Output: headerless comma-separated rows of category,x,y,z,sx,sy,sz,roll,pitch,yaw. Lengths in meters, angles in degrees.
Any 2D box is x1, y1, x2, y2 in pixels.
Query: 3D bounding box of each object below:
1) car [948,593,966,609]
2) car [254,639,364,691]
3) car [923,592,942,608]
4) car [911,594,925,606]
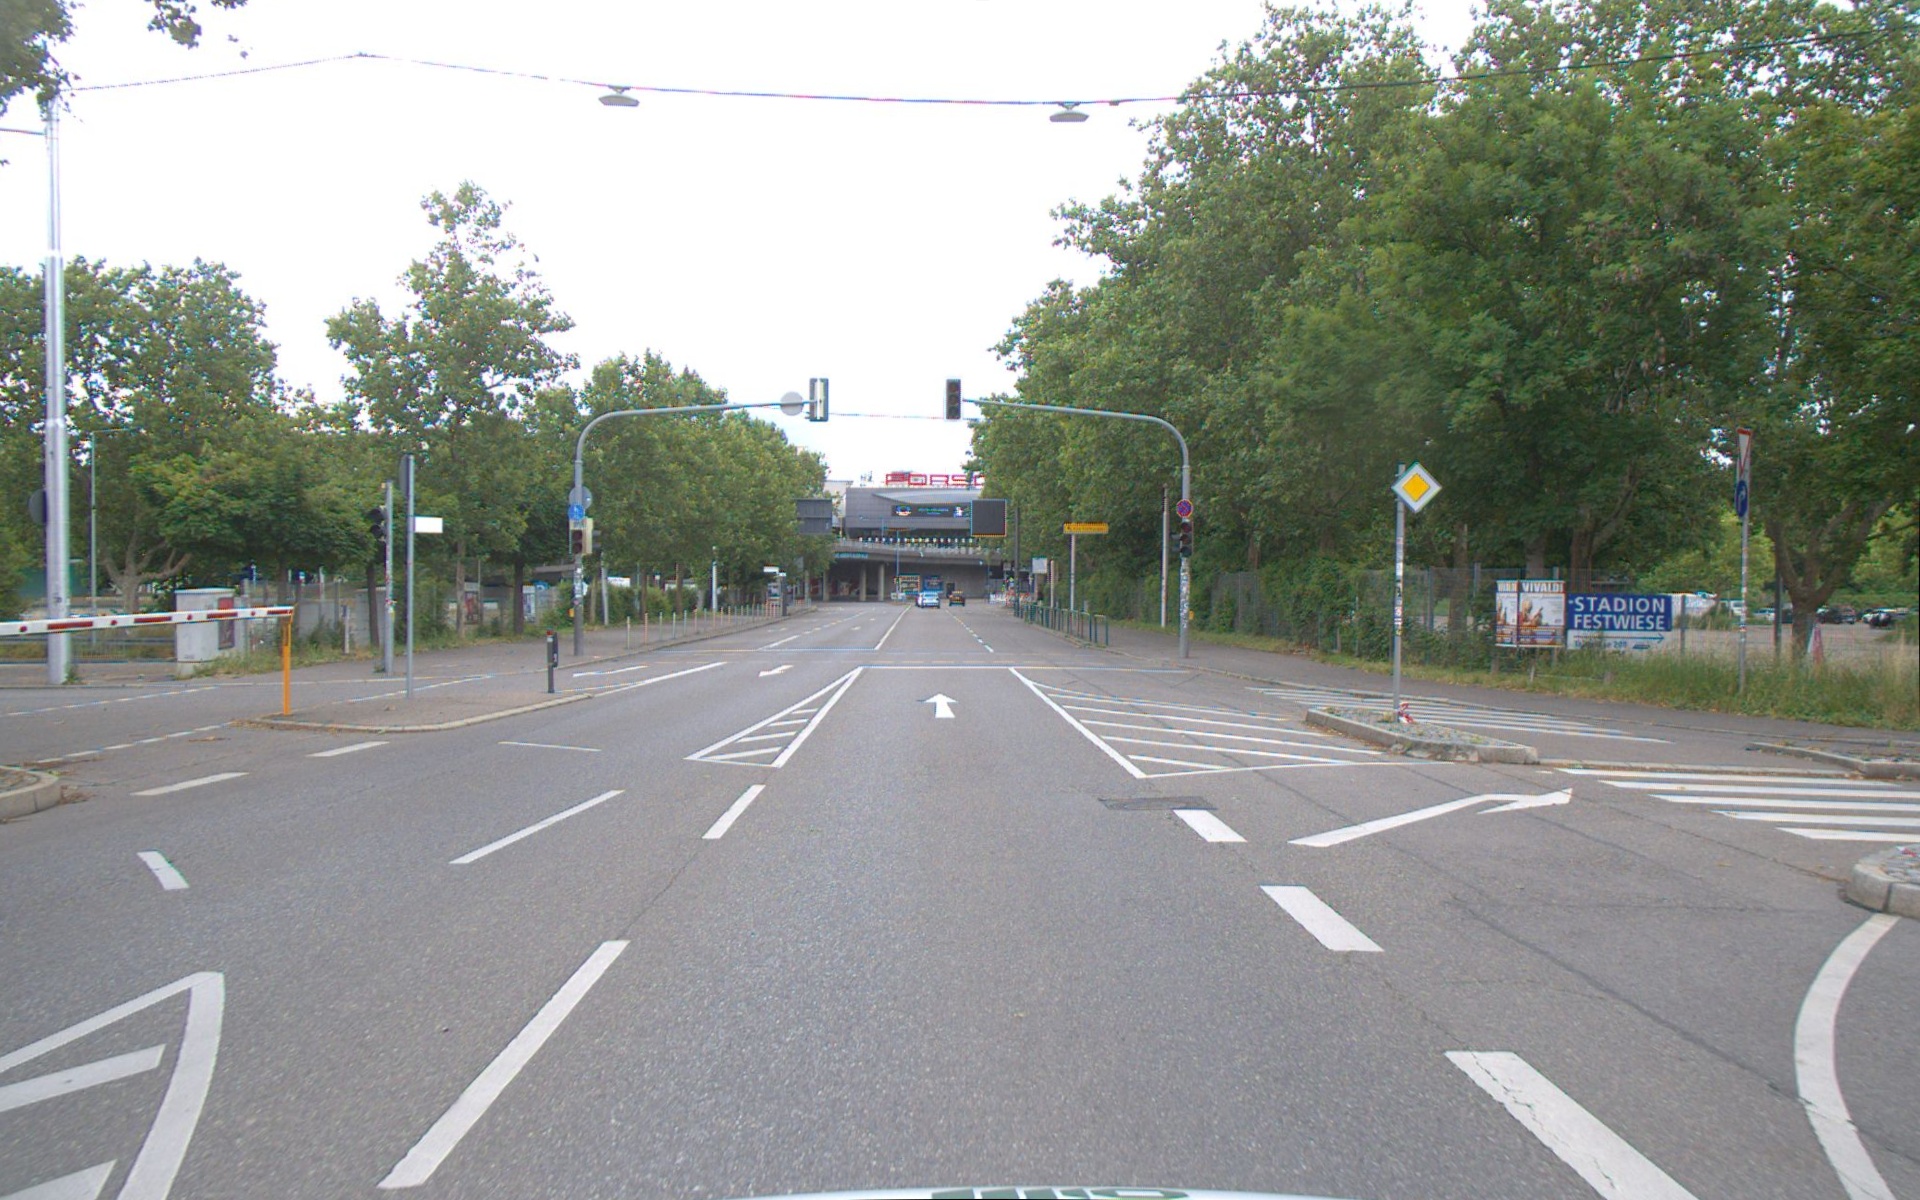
car,-0.350,0.075,188.871,1.966,1.728,4.069,1,0,0
car,-26.246,2.594,66.854,1.841,1.867,4.596,2,0,13
car,-2.612,-0.013,158.610,1.742,1.486,3.821,2,0,0
car,-4.224,-0.028,167.474,1.382,1.133,3.037,1,0,-1
